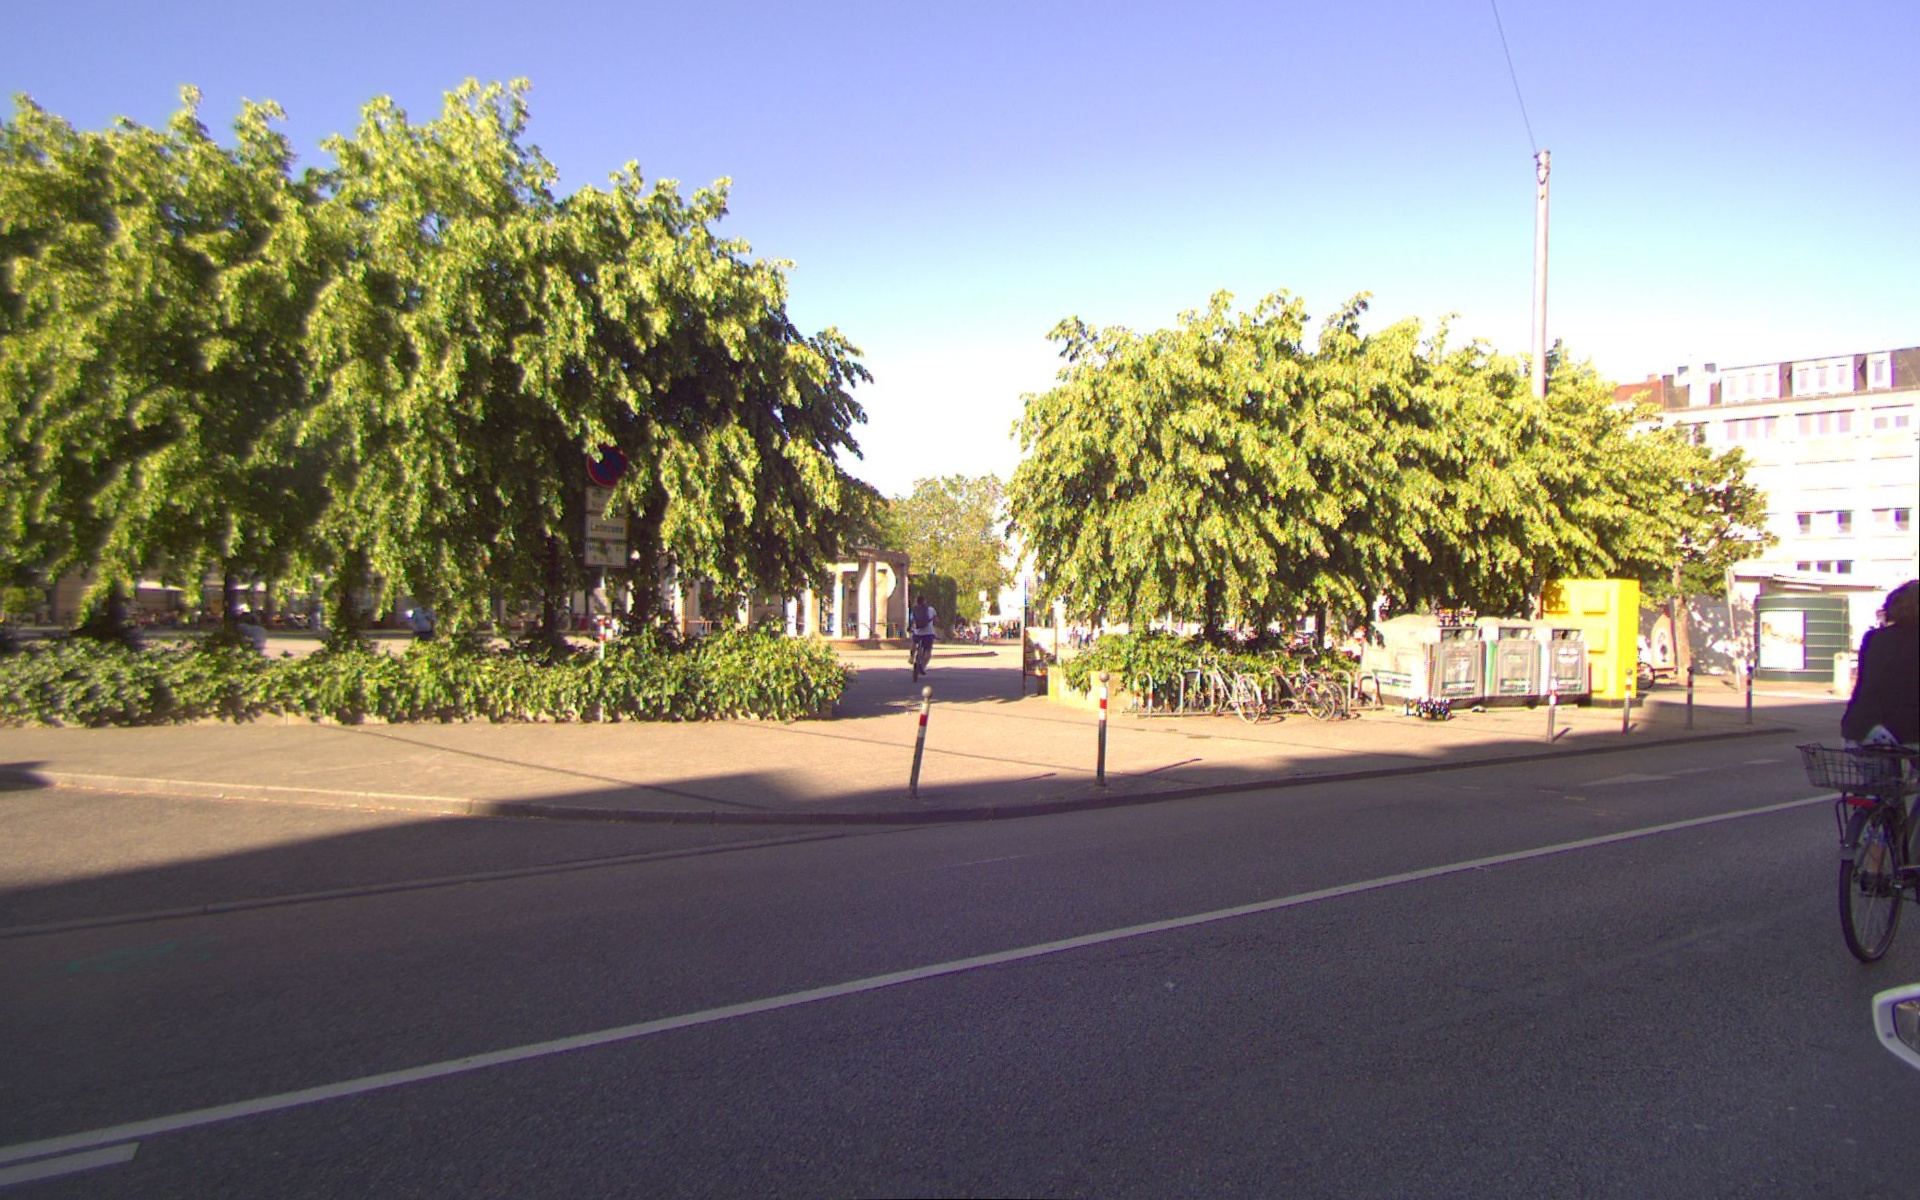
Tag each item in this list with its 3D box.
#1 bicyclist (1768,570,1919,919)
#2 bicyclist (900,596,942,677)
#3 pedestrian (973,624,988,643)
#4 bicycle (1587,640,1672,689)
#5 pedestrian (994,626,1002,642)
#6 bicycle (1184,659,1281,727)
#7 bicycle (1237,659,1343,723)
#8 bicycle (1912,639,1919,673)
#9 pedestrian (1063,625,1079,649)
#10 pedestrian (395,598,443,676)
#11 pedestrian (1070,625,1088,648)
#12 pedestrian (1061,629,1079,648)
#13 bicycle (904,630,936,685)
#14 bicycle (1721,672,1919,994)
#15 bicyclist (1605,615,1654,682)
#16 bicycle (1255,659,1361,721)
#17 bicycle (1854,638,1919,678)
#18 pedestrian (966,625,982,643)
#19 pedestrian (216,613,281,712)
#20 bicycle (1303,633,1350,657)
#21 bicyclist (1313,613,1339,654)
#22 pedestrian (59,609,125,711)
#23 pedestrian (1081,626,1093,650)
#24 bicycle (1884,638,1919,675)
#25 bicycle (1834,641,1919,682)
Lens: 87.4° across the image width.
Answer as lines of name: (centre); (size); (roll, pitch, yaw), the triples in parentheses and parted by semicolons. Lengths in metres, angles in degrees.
bicyclist: (4.448, 0.631, 4.776); (0.946, 1.504, 0.603); (2, 0, -29)
bicyclist: (-0.853, 0.795, 22.323); (0.772, 1.722, 0.896); (2, 0, 5)
pedestrian: (1.712, 2.858, 84.882); (0.867, 1.557, 0.894); (2, 0, 33)
bicycle: (17.860, 1.702, 26.846); (0.608, 1.178, 1.950); (2, 0, -16)
pedestrian: (3.952, 3.518, 104.479); (0.744, 1.557, 0.673); (2, 0, -12)
bicycle: (4.186, 1.411, 15.530); (0.464, 0.897, 1.558); (2, 0, -29)
bicycle: (5.286, 1.443, 16.188); (0.465, 0.870, 1.659); (2, 0, -35)
bicycle: (37.256, 2.153, 37.281); (0.932, 1.276, 2.648); (2, 0, -32)
pedestrian: (7.393, 2.470, 66.965); (0.904, 1.541, 0.936); (2, 0, 15)
pedestrian: (-10.880, 0.735, 20.213); (0.688, 1.541, 0.676); (2, 0, -41)
pedestrian: (8.281, 2.549, 69.921); (1.003, 1.541, 1.036); (2, 0, 15)
pedestrian: (7.576, 2.649, 69.170); (0.852, 1.230, 0.898); (2, 0, 31)
bicycle: (-0.882, 1.262, 22.565); (0.593, 1.116, 1.989); (2, 0, 0)
bicycle: (4.526, 0.998, 4.826); (1.976, 1.239, 0.625); (1, 0, -29)
bicyclist: (17.869, 1.283, 26.826); (0.692, 1.732, 0.807); (2, 0, -17)
bicycle: (5.683, 1.453, 16.486); (0.465, 0.870, 1.654); (2, 0, -35)
bicycle: (33.154, 2.038, 35.070); (0.923, 1.291, 2.764); (2, 0, -32)
pedestrian: (1.194, 2.882, 85.572); (0.867, 1.497, 0.940); (2, 0, 42)
pedestrian: (-10.839, 0.936, 15.304); (0.581, 1.456, 0.615); (2, 0, 33)
bicycle: (12.866, 1.585, 35.330); (0.571, 0.834, 1.853); (1, -3, -17)
bicyclist: (12.875, 1.176, 35.352); (0.566, 1.399, 0.706); (2, -3, -17)
pedestrian: (-12.847, 0.873, 14.887); (0.615, 1.456, 0.647); (2, 0, -32)
pedestrian: (8.363, 2.495, 66.076); (0.761, 1.541, 0.838); (2, 0, 6)
bicycle: (35.273, 2.082, 36.136); (0.932, 1.287, 2.859); (2, 0, -32)
bicycle: (31.232, 2.061, 33.768); (0.932, 1.211, 2.645); (2, 0, -32)
